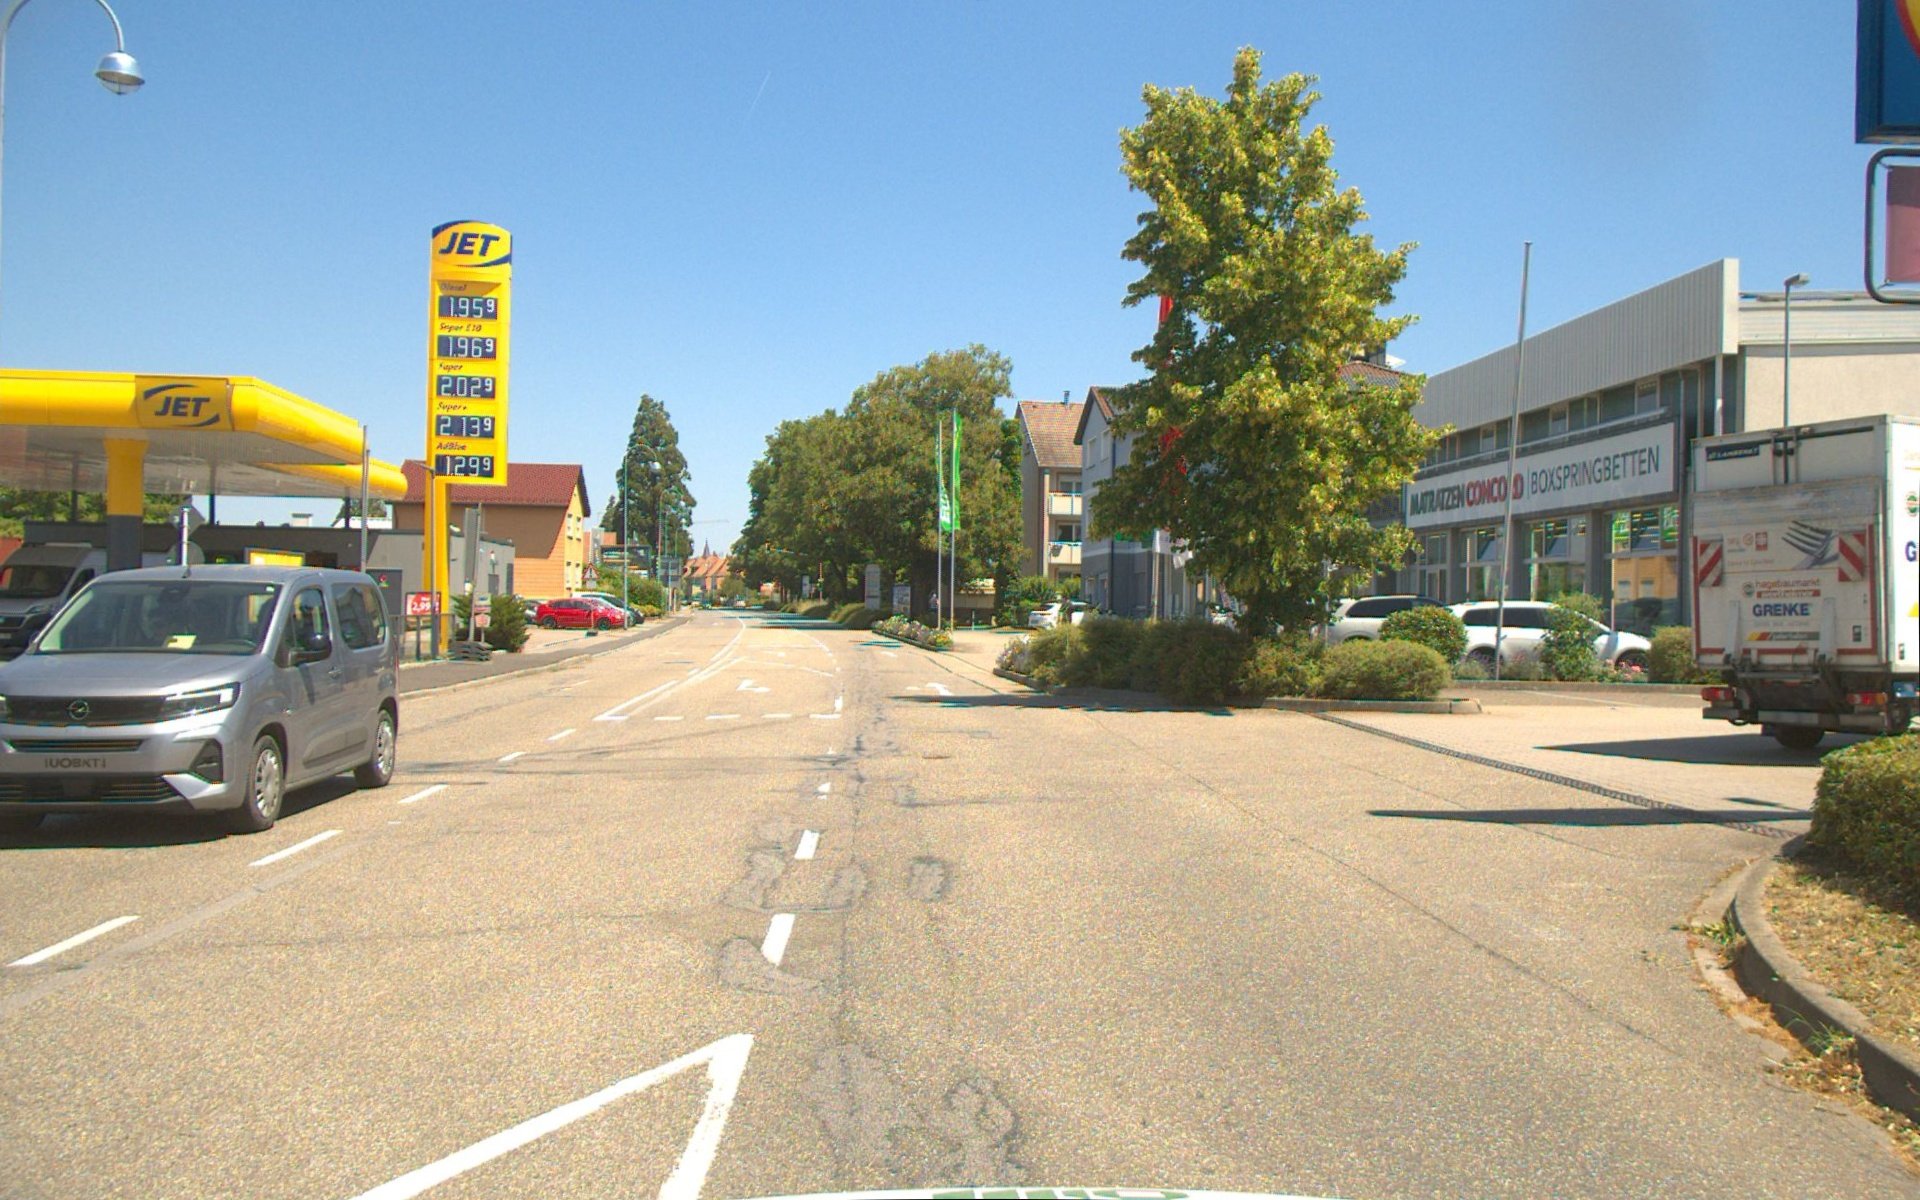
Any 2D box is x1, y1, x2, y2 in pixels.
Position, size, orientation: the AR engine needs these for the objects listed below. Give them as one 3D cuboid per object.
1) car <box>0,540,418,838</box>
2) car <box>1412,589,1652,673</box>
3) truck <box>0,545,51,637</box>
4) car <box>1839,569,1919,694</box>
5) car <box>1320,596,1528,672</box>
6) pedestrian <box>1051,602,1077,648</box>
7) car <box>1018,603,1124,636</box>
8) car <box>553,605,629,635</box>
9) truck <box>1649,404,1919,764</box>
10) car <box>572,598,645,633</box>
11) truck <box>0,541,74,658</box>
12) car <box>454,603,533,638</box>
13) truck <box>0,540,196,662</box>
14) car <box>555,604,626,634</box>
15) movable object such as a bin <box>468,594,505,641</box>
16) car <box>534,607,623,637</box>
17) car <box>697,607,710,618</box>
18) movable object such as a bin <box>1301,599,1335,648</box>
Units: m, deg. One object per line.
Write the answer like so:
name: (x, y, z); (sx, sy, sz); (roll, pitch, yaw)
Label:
car: (-5.485, 0.535, 12.221); (1.760, 1.803, 4.361); (0, 0, -4)
car: (10.416, 0.565, 30.371); (3.902, 1.486, 1.807); (0, -1, 8)
truck: (-39.441, -0.343, 63.378); (7.723, 3.486, 2.151); (0, -1, -9)
car: (15.595, 0.487, 25.338); (1.673, 1.923, 4.251); (0, -1, -6)
car: (10.583, 0.777, 38.068); (4.483, 1.670, 2.002); (0, -1, 12)
pedestrian: (3.779, 0.907, 60.119); (0.823, 1.670, 1.009); (0, -1, -3)
car: (4.846, 0.838, 71.942); (4.298, 1.395, 1.936); (0, -1, -30)
car: (-18.495, 0.995, 83.080); (3.597, 1.483, 1.888); (0, -1, -10)
truck: (9.766, -0.093, 16.235); (5.866, 3.000, 2.400); (1, 0, -28)
car: (-20.066, 0.891, 94.478); (4.022, 1.931, 1.994); (0, -1, -12)
truck: (-25.749, -0.014, 41.295); (2.583, 2.964, 6.737); (0, -1, 13)
car: (-23.153, 1.022, 82.229); (3.597, 1.739, 1.888); (0, -1, -10)
truck: (-20.786, 0.041, 39.173); (2.187, 2.644, 6.732); (0, -1, 1)
car: (-19.639, 1.005, 87.990); (3.597, 1.608, 1.918); (0, -1, -10)
movable object such as a bin: (-16.557, 0.592, 57.862); (0.934, 1.543, 1.426); (4, 0, -7)
car: (-18.624, 1.063, 80.878); (4.048, 1.469, 1.823); (0, -1, -8)
car: (-35.721, 1.715, 230.197); (1.678, 1.521, 4.270); (0, 0, -8)
movable object such as a bin: (11.141, 0.737, 51.433); (0.835, 1.470, 0.702); (-3, -1, 0)
